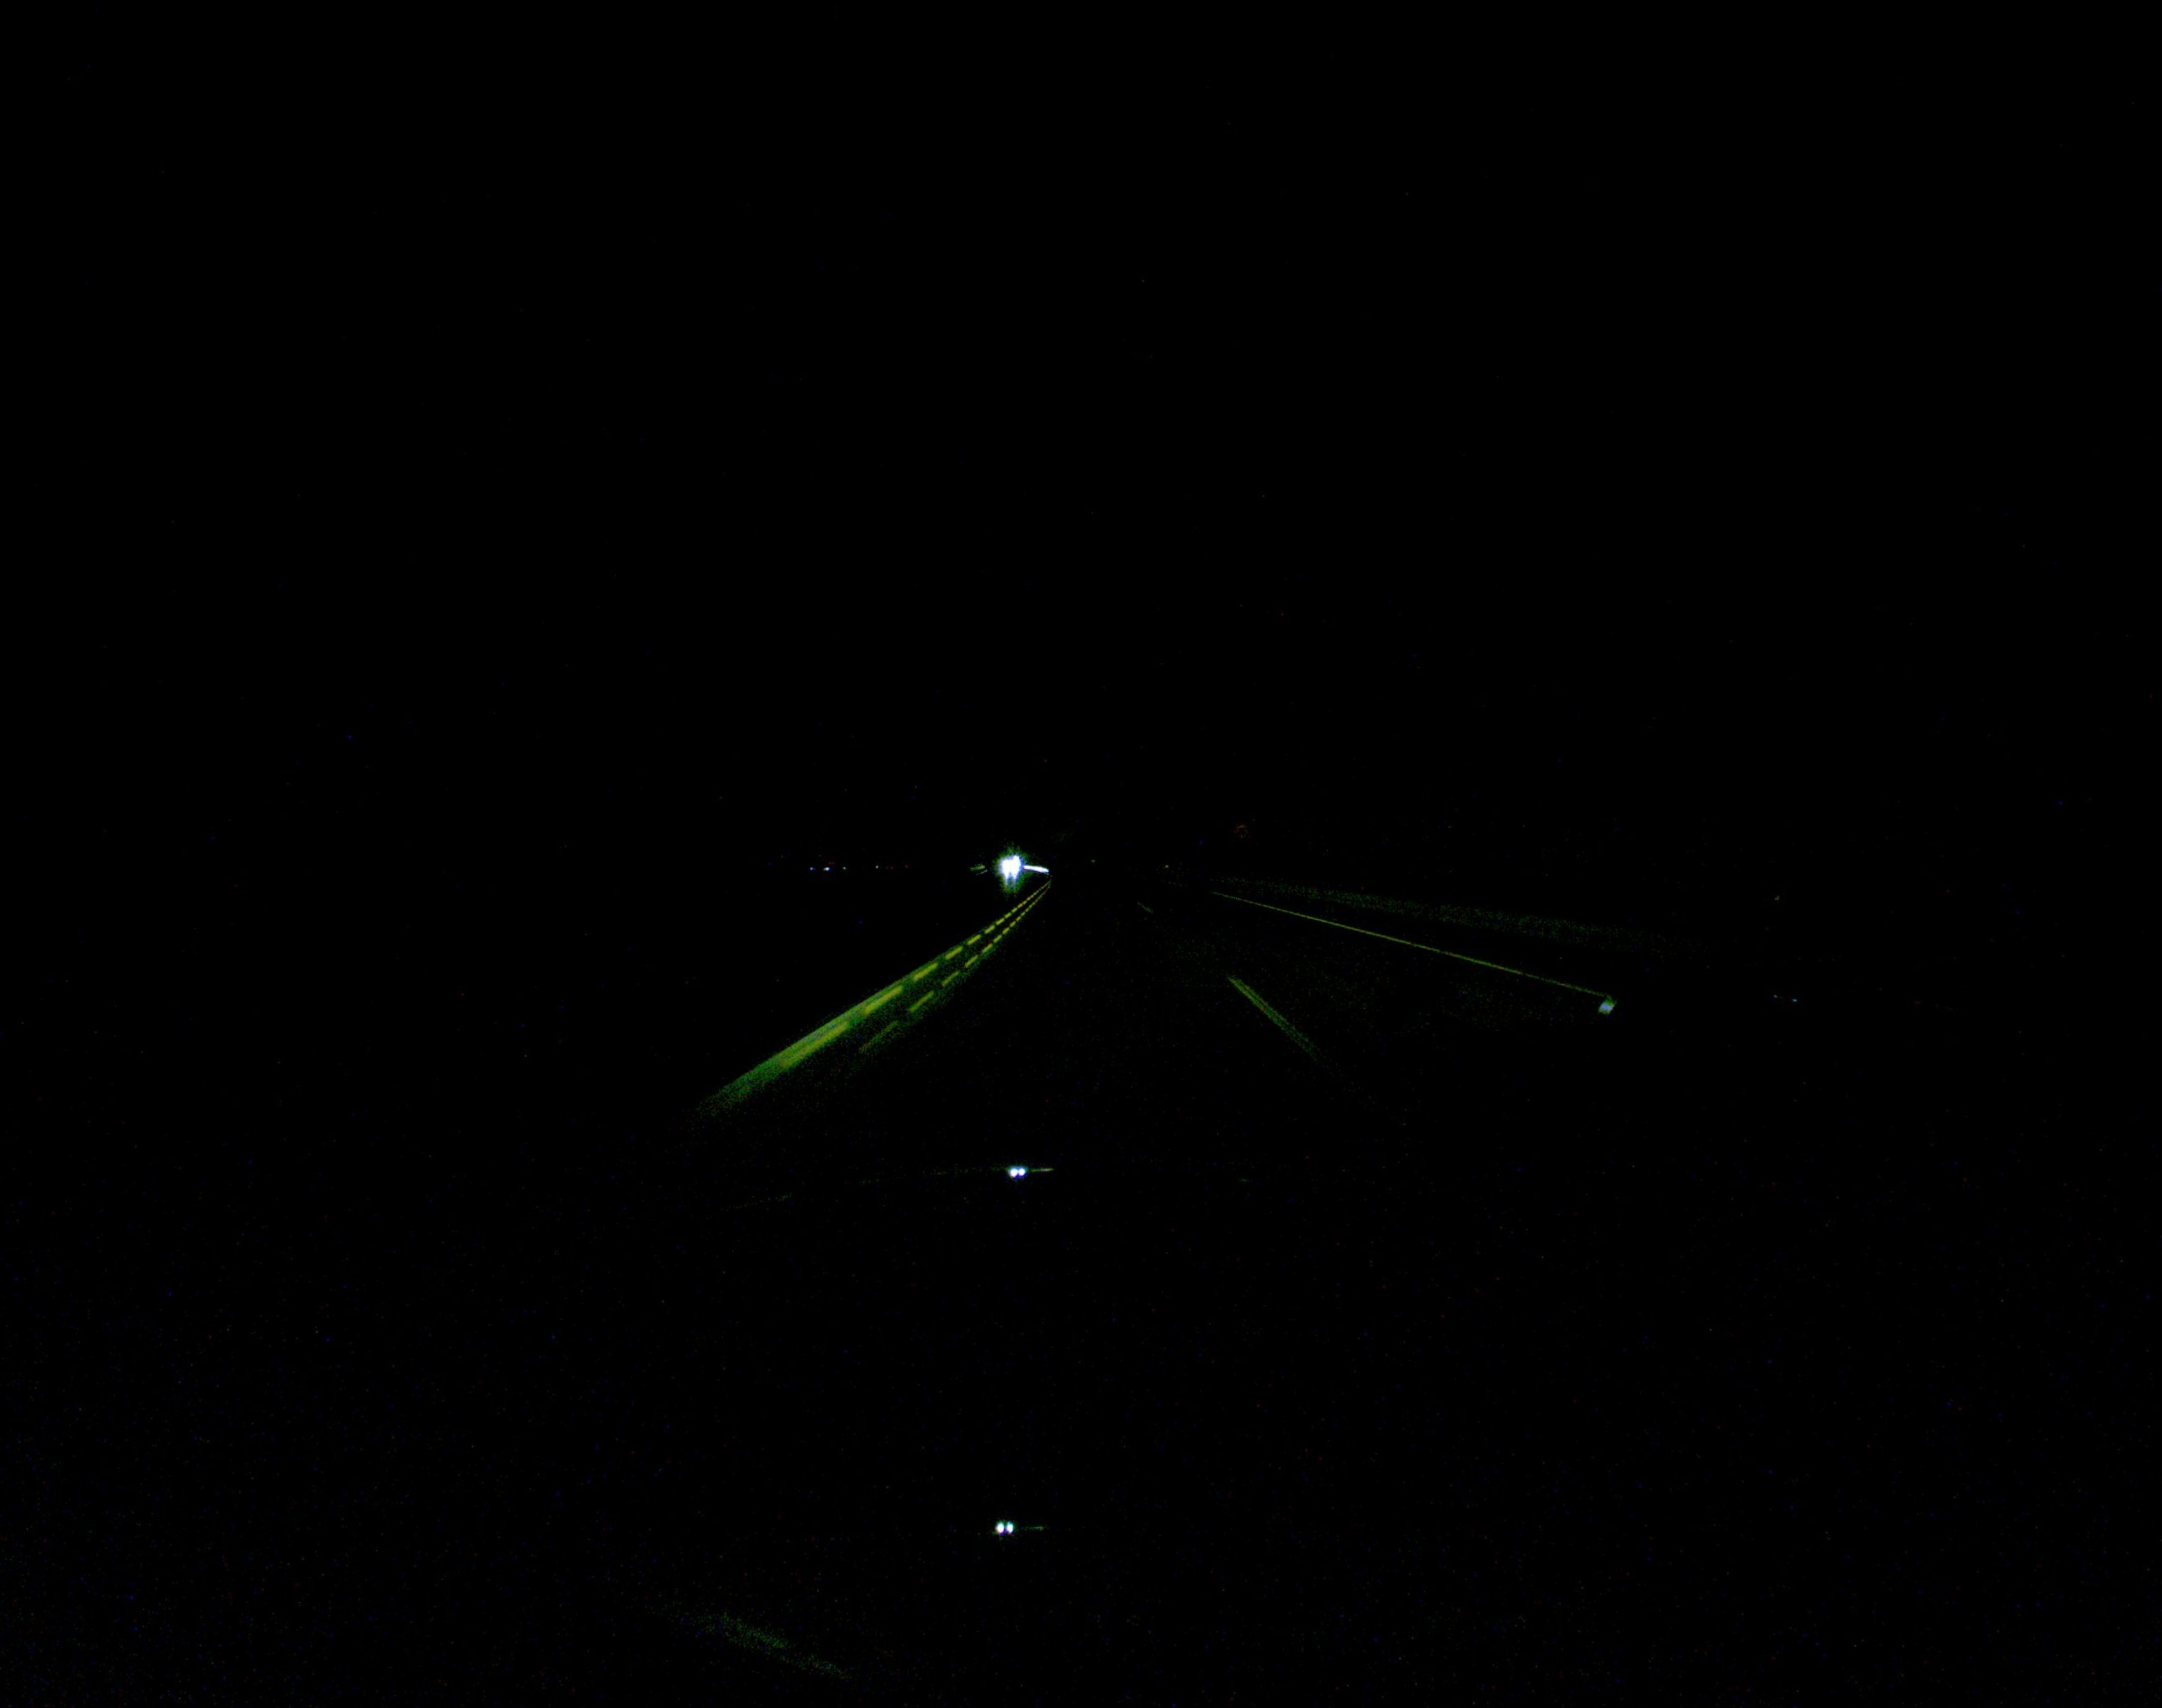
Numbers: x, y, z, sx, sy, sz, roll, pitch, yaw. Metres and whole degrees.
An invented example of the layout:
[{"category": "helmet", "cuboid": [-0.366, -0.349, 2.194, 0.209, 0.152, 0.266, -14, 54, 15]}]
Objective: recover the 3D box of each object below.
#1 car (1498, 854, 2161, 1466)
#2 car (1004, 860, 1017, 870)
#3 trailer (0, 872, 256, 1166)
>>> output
[{"category": "car", "cuboid": [3.517, 0.741, 2.744, 1.801, 1.426, 4.876, -2, 0, 1]}, {"category": "car", "cuboid": [-12.176, 1.894, 139.546, 1.819, 1.516, 4.507, -1, -1, -10]}, {"category": "trailer", "cuboid": [-6.293, 0.856, 3.570, 1.877, 1.426, 3.351, -2, 0, 0]}]
